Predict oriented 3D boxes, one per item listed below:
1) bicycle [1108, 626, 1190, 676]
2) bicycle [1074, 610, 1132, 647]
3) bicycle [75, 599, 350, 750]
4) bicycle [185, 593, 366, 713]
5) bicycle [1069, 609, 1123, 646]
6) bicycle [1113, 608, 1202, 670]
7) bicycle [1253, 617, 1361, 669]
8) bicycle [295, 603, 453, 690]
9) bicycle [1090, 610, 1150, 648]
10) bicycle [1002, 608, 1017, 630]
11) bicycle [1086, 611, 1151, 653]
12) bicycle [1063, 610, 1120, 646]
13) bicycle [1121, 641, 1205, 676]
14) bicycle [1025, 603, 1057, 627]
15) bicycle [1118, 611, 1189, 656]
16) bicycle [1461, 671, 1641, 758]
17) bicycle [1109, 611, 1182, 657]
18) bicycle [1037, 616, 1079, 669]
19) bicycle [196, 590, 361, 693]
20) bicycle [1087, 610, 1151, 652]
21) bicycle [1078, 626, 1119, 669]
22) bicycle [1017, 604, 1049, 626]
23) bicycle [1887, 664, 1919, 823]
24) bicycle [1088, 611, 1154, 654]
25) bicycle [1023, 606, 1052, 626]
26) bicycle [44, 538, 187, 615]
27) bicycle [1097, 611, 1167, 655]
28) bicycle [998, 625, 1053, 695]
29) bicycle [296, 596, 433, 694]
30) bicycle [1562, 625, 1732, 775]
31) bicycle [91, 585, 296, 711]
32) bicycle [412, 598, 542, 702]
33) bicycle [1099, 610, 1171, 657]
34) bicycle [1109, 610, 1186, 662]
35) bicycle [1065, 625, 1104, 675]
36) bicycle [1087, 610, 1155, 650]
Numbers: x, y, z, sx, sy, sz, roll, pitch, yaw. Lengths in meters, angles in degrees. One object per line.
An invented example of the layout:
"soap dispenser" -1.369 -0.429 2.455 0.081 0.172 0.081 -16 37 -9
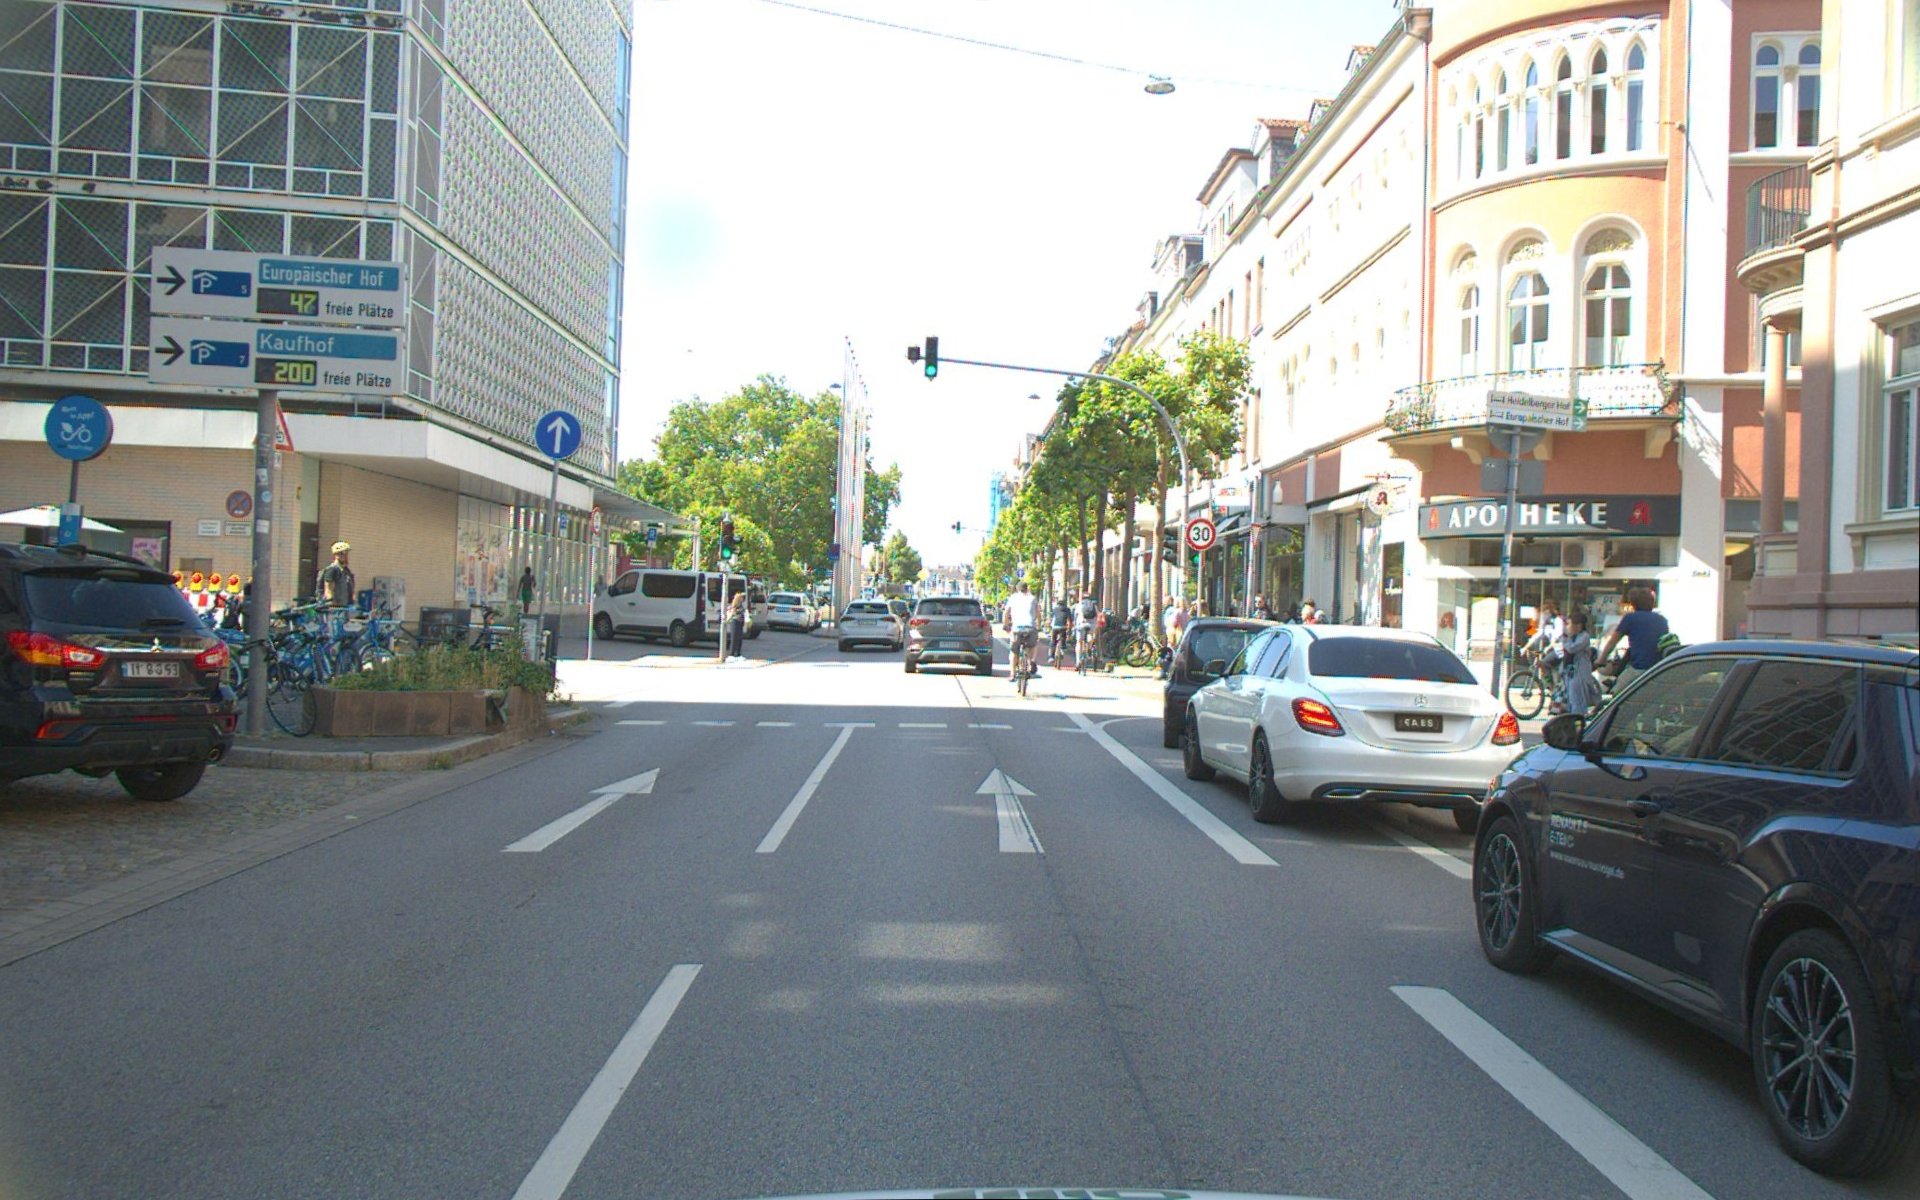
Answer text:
"bicycle" 4.579 1.243 40.132 1.814 0.401 1.024 10 -36 3
"bicycle" 4.563 0.899 52.840 1.804 1.147 0.447 1 -2 28
"bicycle" -6.442 0.632 14.300 2.097 1.146 0.485 4 1 0
"bicycle" -7.520 0.561 18.151 2.017 1.146 0.561 4 1 24
"bicycle" 4.439 0.886 53.868 1.826 1.147 0.586 3 -2 -37
"bicycle" 4.451 0.859 37.401 1.822 1.209 0.713 6 3 38
"bicycle" 6.053 0.752 28.888 1.784 0.859 0.501 1 0 0
"bicycle" -8.380 0.655 23.689 1.945 1.146 0.800 2 1 6
"bicycle" 4.928 0.897 51.085 1.802 1.147 0.448 2 -1 2
"bicycle" 2.416 0.924 80.994 0.634 1.015 2.030 2 0 -1
"bicycle" 4.512 0.905 47.144 1.802 1.147 0.530 2 -1 1
"bicycle" 4.401 0.930 55.221 1.802 1.112 0.564 3 -1 -1
"bicycle" 4.811 1.392 39.333 1.124 0.441 1.841 -9 -4 -26
"bicycle" 4.420 0.841 90.587 1.692 1.238 0.477 2 0 2
"bicycle" 5.135 0.892 43.994 1.802 1.146 0.666 2 -1 1
"bicycle" 9.077 1.758 25.503 2.511 1.146 0.628 3 -3 14
"bicycle" 4.826 0.876 43.020 1.802 1.146 0.666 2 -1 1
"bicycle" 2.278 0.969 38.676 0.684 1.146 2.080 3 0 -4
"bicycle" -8.287 0.488 20.098 2.017 1.146 0.646 2 0 26
"bicycle" 4.837 0.930 50.282 1.801 1.146 0.530 4 -1 12
"bicycle" 3.212 1.101 38.487 0.588 0.942 2.085 3 -1 -4
"bicycle" 4.283 0.857 97.041 1.805 1.222 0.608 2 0 2
"bicycle" 7.389 1.075 11.529 0.560 1.146 2.076 0 1 -5
"bicycle" 4.516 0.900 46.450 1.802 1.146 0.666 2 -1 1
"bicycle" 4.385 0.902 93.795 1.615 1.114 0.607 2 0 2
"bicycle" -14.706 -0.413 28.828 2.181 1.289 0.729 -1 1 -30
"bicycle" 4.638 0.887 44.593 1.802 1.146 0.643 2 -1 1
"bicycle" 1.035 0.938 26.639 0.758 1.023 2.329 2 0 0
"bicycle" -7.666 0.556 21.251 2.023 1.189 0.603 1 -1 36
"bicycle" 6.808 0.947 16.528 0.717 1.291 2.282 3 1 1
"bicycle" -8.169 0.495 17.596 2.276 1.146 0.561 4 0 24
"bicycle" -6.096 0.610 20.810 2.030 1.193 0.601 2 -1 45
"bicycle" 4.466 0.861 42.255 1.801 1.146 0.667 1 -1 6
"bicycle" 4.650 0.879 40.936 1.801 1.146 0.346 4 1 15
"bicycle" 2.650 1.049 35.447 0.617 0.997 2.088 2 0 -1
"bicycle" 4.830 0.903 49.569 1.943 1.147 0.762 1 -1 12
